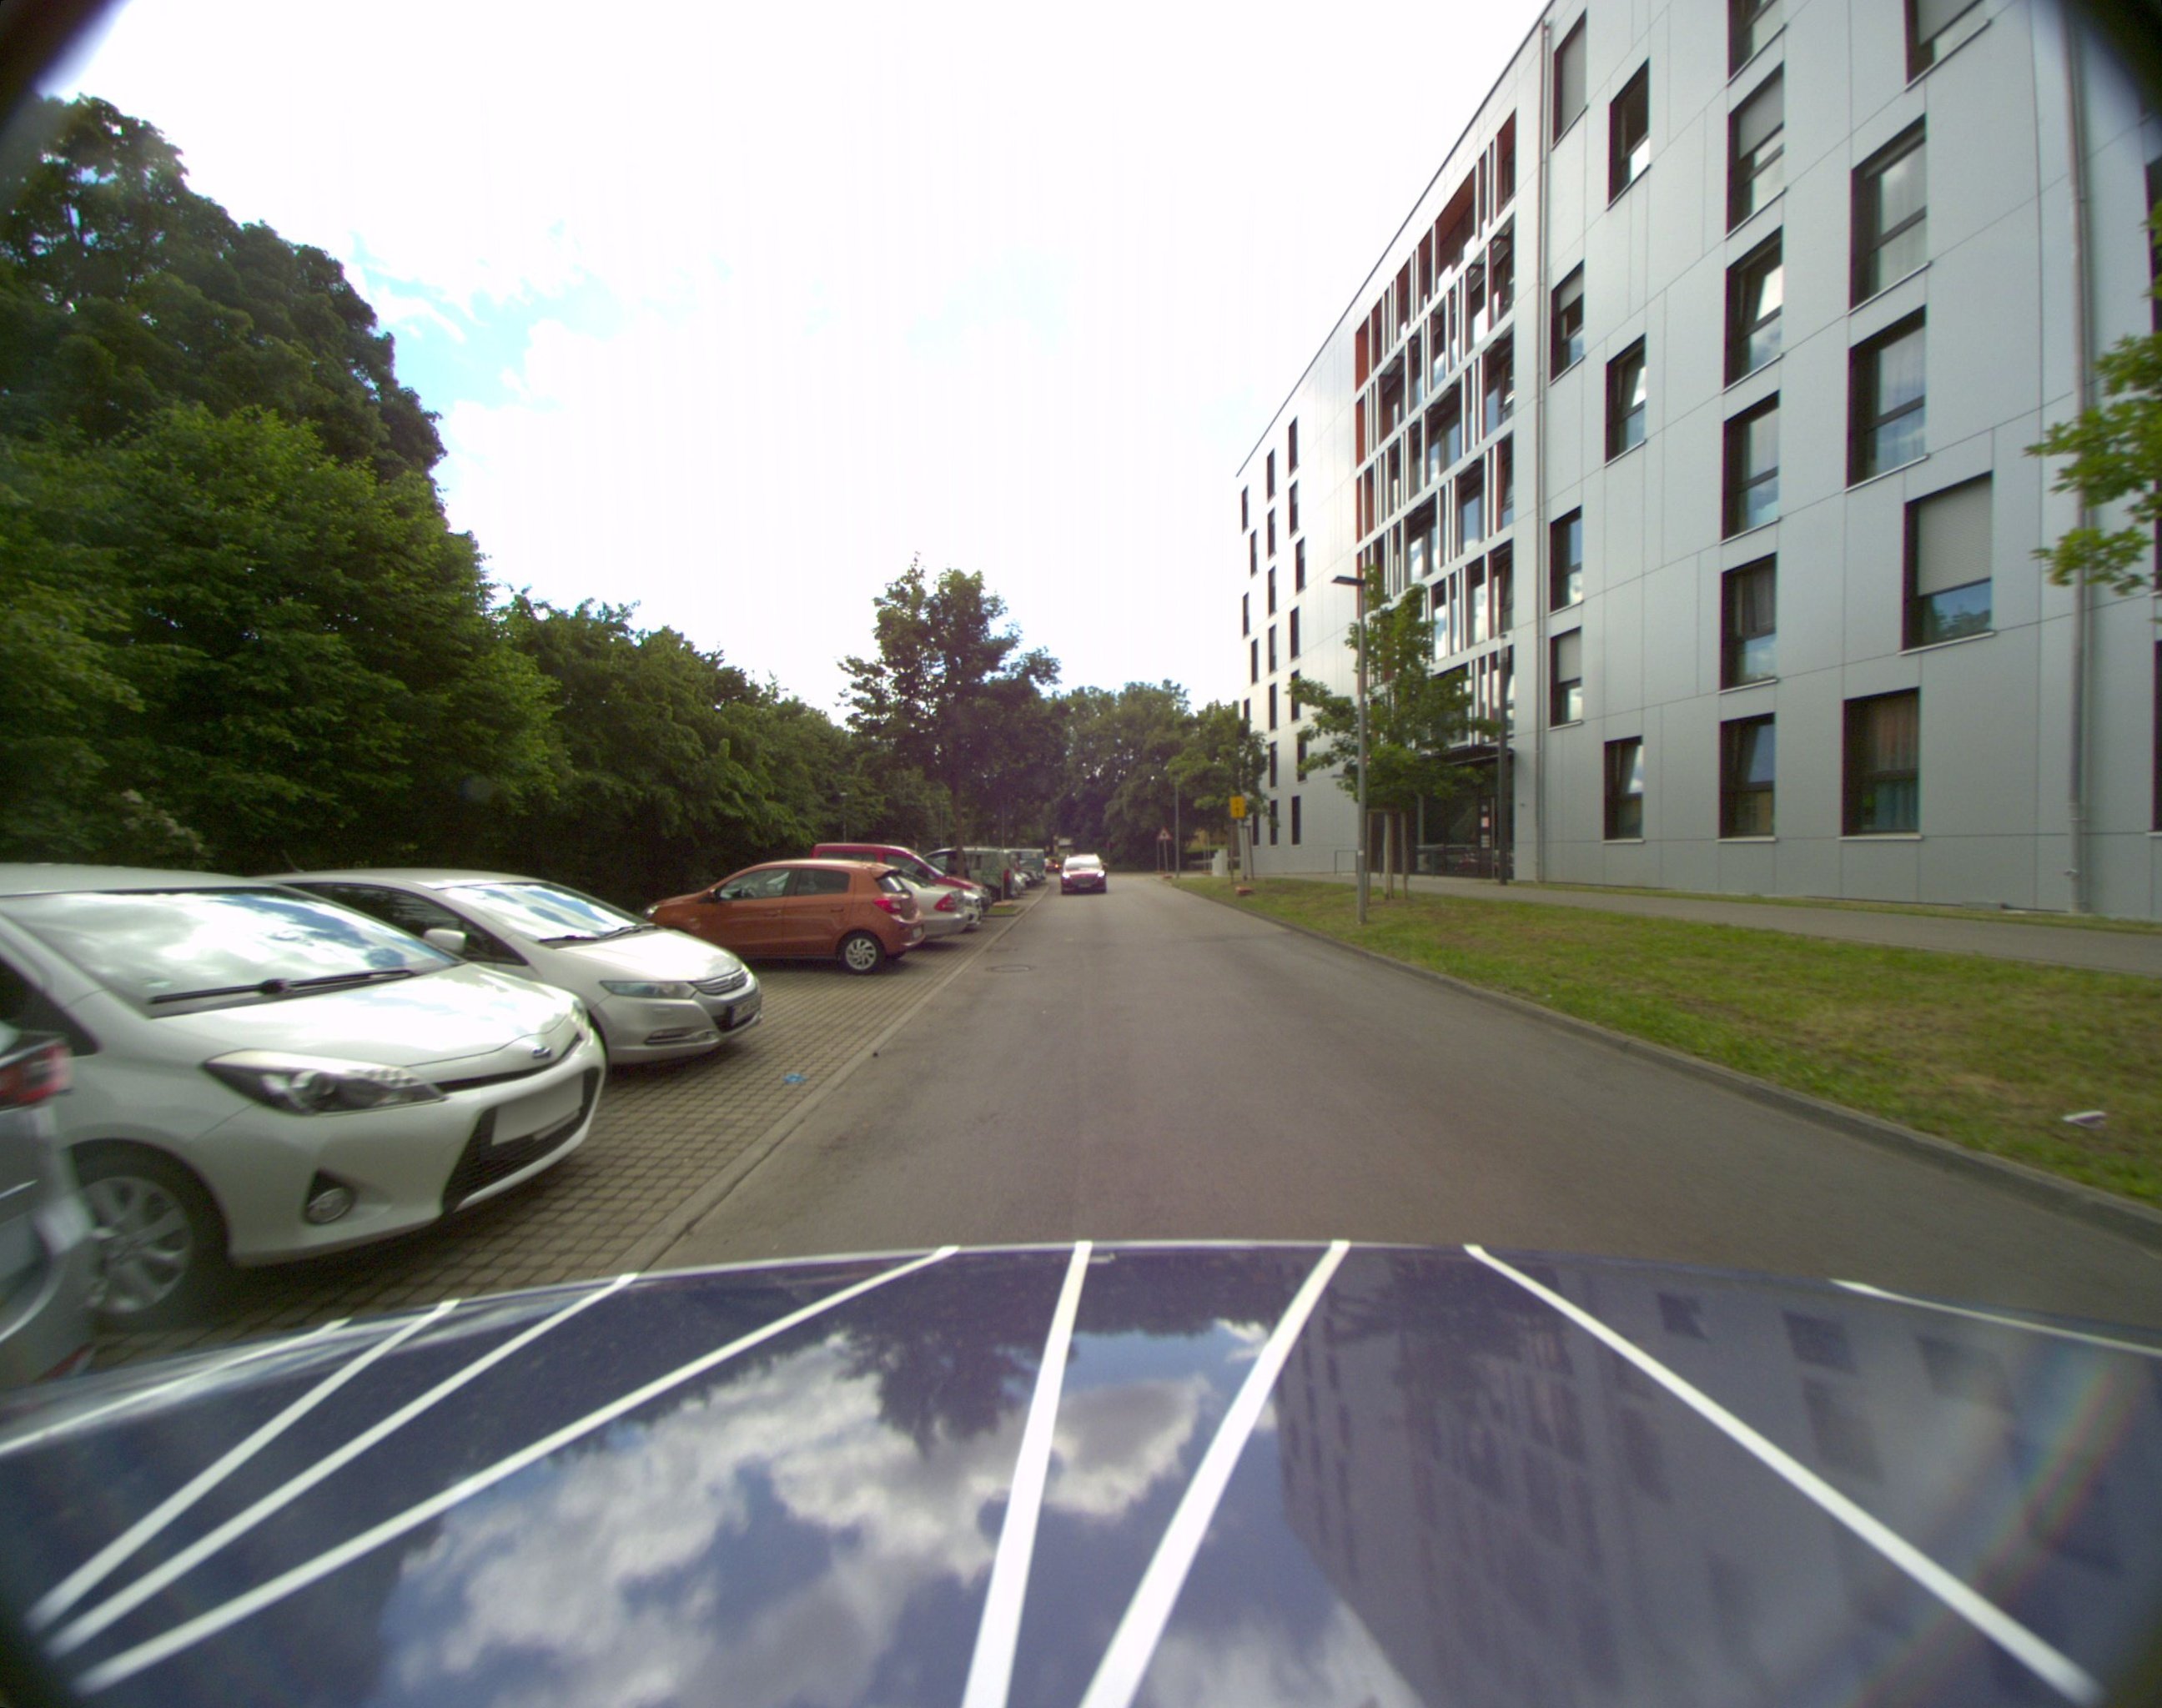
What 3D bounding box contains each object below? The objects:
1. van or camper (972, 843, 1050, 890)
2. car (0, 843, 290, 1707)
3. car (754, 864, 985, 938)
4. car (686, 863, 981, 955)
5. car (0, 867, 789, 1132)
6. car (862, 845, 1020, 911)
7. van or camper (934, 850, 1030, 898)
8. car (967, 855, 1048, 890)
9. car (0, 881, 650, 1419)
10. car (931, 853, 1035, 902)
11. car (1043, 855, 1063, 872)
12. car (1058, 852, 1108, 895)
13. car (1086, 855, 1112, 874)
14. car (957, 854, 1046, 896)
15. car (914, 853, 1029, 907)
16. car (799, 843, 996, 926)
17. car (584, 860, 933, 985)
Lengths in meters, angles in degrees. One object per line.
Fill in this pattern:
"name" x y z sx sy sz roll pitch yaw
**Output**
"van or camper" -3.742 0.659 41.127 3.979 2.306 1.884 -3 1 -2
"car" -4.070 0.816 0.544 4.661 1.742 2.069 1 0 -4
"car" -4.251 0.932 15.823 4.292 1.401 1.837 0 0 -2
"car" -4.041 0.879 13.005 4.407 1.427 1.944 0 0 0
"car" -4.752 0.910 5.558 4.489 1.553 1.911 1 0 -2
"car" -4.234 0.715 23.612 4.562 1.888 1.884 1 0 -2
"van or camper" -4.313 0.876 33.663 3.979 1.862 1.728 -3 0 -2
"car" -3.686 0.907 38.825 3.979 1.594 2.105 -1 3 -2
"car" -4.419 0.948 3.182 4.166 1.577 1.795 0 0 -2
"car" -3.945 0.922 31.109 3.979 1.722 1.884 -3 0 -2
"car" -2.724 0.873 73.535 1.818 1.608 3.998 0 0 -4
"car" 0.111 0.770 32.550 1.933 1.622 4.242 -3 1 0
"car" 1.445 0.853 61.296 1.674 1.383 3.998 -3 1 -4
"car" -3.732 0.969 36.267 3.979 1.722 1.884 -3 0 -2
"car" -4.030 0.935 28.419 3.979 1.722 1.884 -3 0 -2
"car" -4.261 0.700 18.213 4.292 1.881 1.837 0 0 -2
"car" -4.327 0.877 10.610 4.157 1.582 1.677 0 0 2
